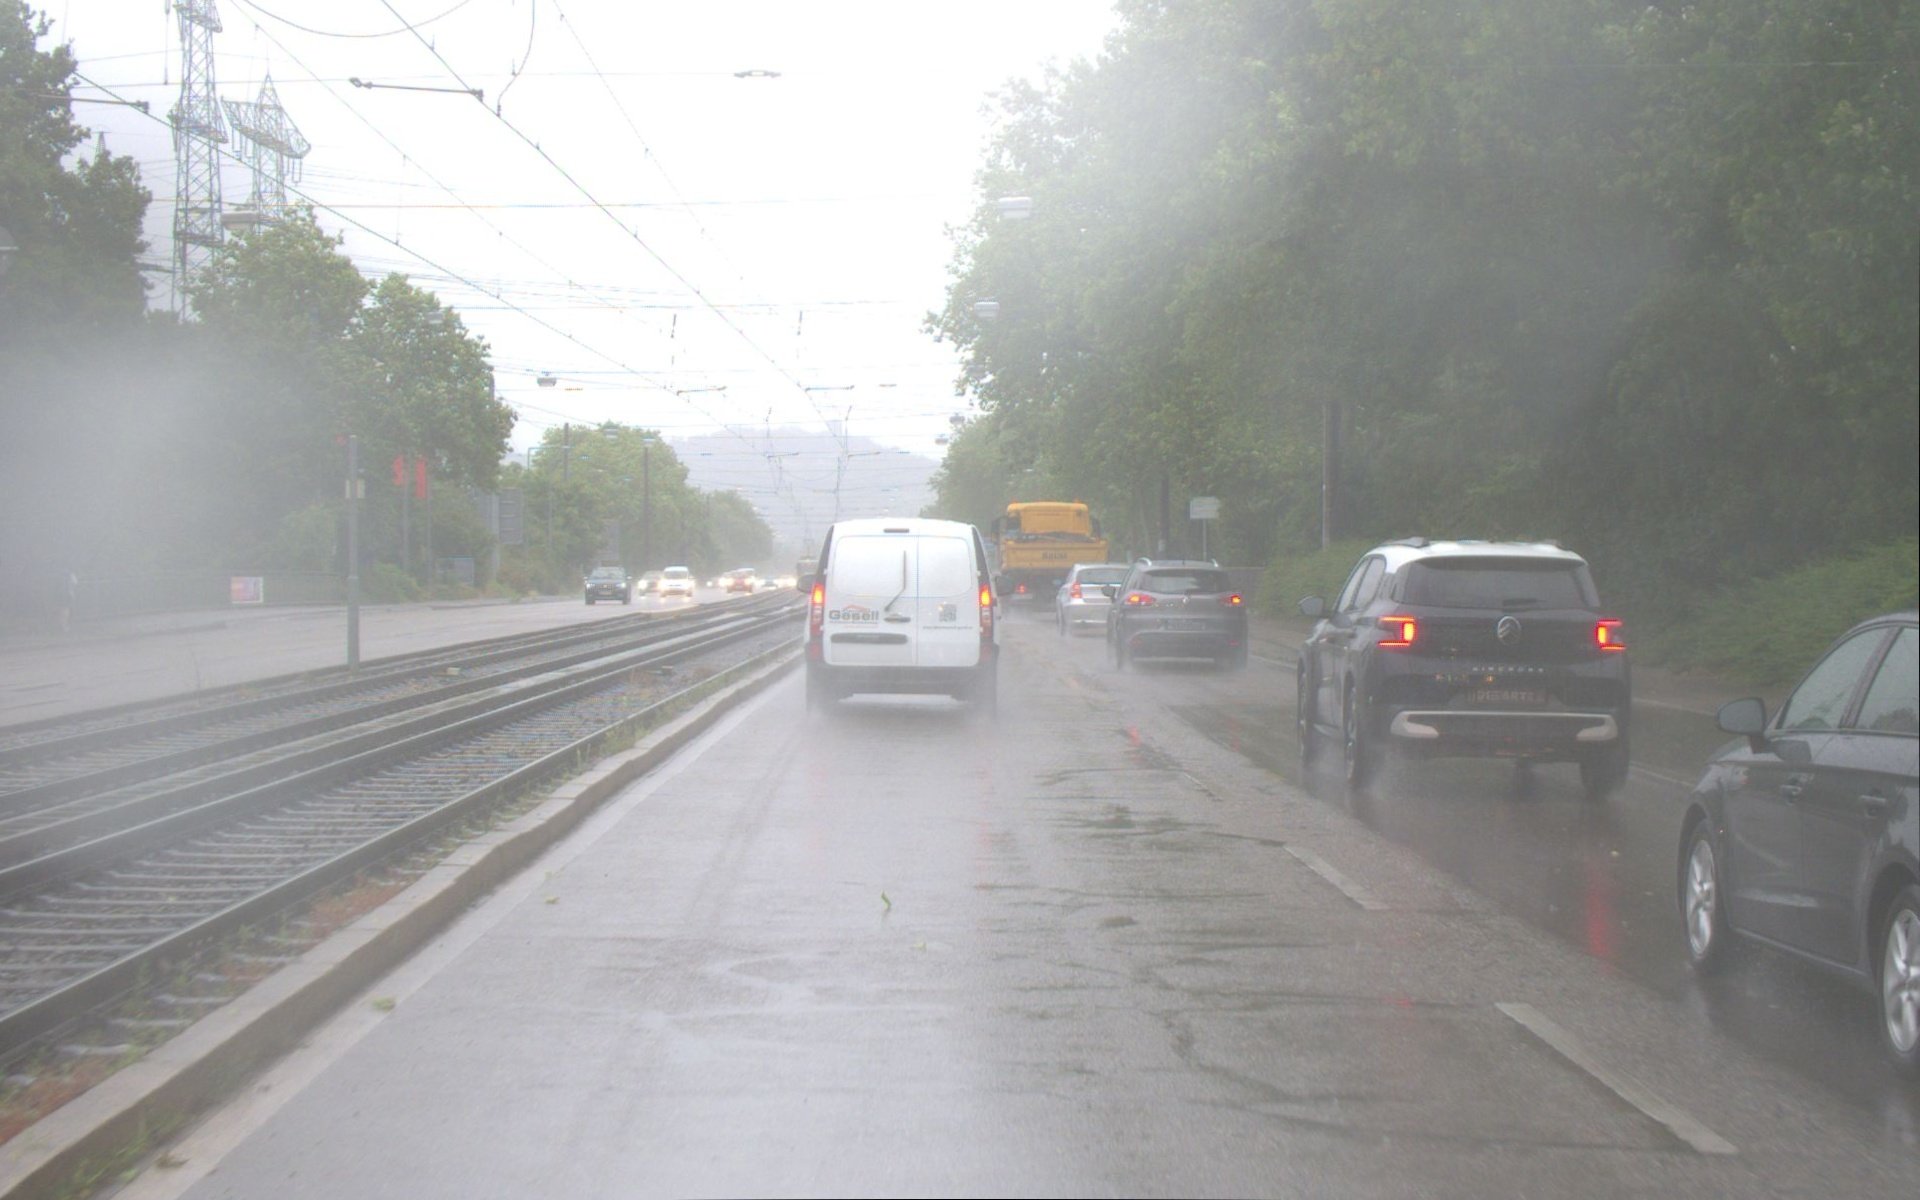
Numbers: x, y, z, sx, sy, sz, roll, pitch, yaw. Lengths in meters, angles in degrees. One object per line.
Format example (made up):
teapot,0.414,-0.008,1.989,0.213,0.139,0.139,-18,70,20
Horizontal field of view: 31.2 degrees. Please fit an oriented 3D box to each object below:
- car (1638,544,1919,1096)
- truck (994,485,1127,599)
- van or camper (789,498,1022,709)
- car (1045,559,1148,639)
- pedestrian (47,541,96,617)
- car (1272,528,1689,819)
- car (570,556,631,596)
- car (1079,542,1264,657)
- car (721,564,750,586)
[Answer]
car,3.667,0.623,11.193,1.967,1.523,3.991,1,2,-2
truck,2.517,-1.482,87.905,3.113,2.764,6.330,1,1,-1
van or camper,-0.579,-0.026,32.355,1.993,1.778,4.001,2,2,-3
car,2.607,-0.043,66.208,1.818,1.409,3.779,1,2,0
pedestrian,-20.856,-0.497,80.727,0.851,1.753,1.121,-1,1,0
car,3.403,0.403,23.428,1.899,1.711,4.726,1,2,-2
car,-14.823,-0.997,141.926,1.993,1.612,4.253,0,1,1
car,2.806,-0.037,46.349,1.818,1.409,3.779,1,2,-7
car,-15.187,-1.717,232.900,1.657,1.481,4.013,0,1,1
